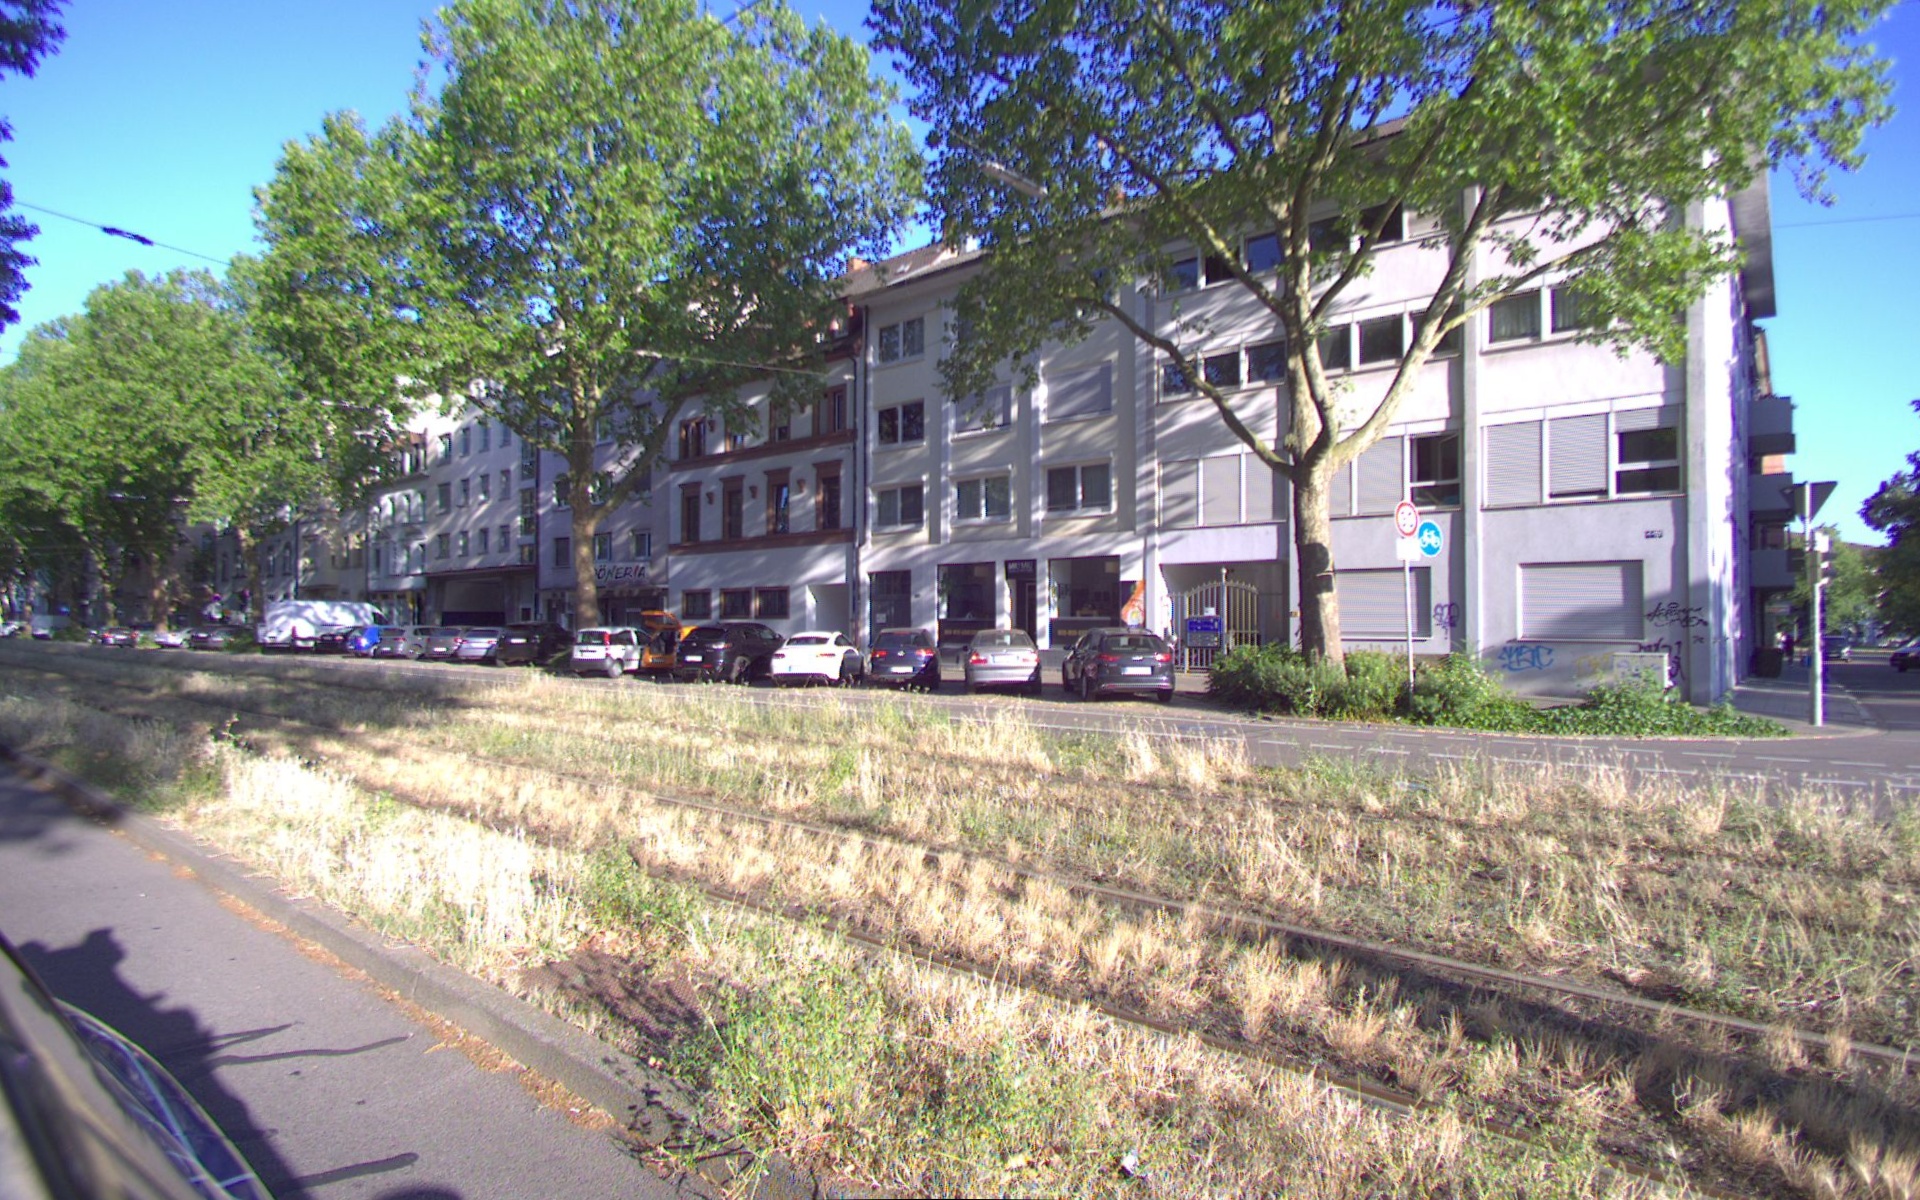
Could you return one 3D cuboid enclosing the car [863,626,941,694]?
[{"bbox_3d":[-1.449,1.459,25.688,1.776,1.452,4.002,-1,0,-3],"label":"car"}]

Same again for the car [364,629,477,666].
[{"bbox_3d":[-23.611,2.055,44.438,1.941,1.503,3.964,-1,-2,27],"label":"car"}]

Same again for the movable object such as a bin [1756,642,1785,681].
[{"bbox_3d":[27.816,2.106,34.747,0.745,1.315,0.861,-1,-2,39],"label":"movable object such as a bin"}]

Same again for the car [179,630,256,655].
[{"bbox_3d":[-47.739,2.777,65.179,1.803,1.545,3.994,0,-3,4],"label":"car"}]

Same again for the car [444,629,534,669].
[{"bbox_3d":[-18.303,1.879,39.522,1.883,1.396,4.004,-1,-1,-5],"label":"car"}]

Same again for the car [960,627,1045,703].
[{"bbox_3d":[0.891,1.421,23.283,1.698,1.452,4.000,-1,0,-1],"label":"car"}]

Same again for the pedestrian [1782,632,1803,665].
[{"bbox_3d":[45.569,2.657,55.410,0.685,1.764,0.637,-1,-2,25],"label":"pedestrian"}]

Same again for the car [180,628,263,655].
[{"bbox_3d":[-45.540,2.601,62.551,1.912,1.605,4.155,0,-4,4],"label":"car"}]

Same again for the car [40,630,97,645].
[{"bbox_3d":[-86.028,3.615,97.692,1.709,1.256,3.993,-1,1,6],"label":"car"}]

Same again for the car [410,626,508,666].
[{"bbox_3d":[-20.548,1.872,41.673,1.735,1.433,3.993,-1,0,6],"label":"car"}]

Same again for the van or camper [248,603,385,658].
[{"bbox_3d":[-33.120,1.557,52.373,2.162,2.666,5.929,-1,-2,19],"label":"van or camper"}]

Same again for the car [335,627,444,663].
[{"bbox_3d":[-25.988,2.013,46.206,1.854,1.431,3.951,-1,0,36],"label":"car"}]

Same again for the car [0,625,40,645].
[{"bbox_3d":[-107.393,3.970,115.157,1.971,2.029,4.002,-1,0,-2],"label":"car"}]

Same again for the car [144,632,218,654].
[{"bbox_3d":[-51.796,2.820,67.345,1.806,1.400,3.670,0,-2,9],"label":"car"}]

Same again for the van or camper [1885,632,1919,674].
[{"bbox_3d":[50.114,2.658,50.848,5.074,2.029,1.995,0,-2,8],"label":"van or camper"}]

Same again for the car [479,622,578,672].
[{"bbox_3d":[-15.691,1.661,37.023,1.972,1.673,4.000,-1,-1,-1],"label":"car"}]

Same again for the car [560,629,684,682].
[{"bbox_3d":[-10.471,1.687,31.700,1.643,1.460,4.345,0,-1,14],"label":"car"}]

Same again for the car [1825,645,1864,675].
[{"bbox_3d":[63.350,4.279,72.473,1.999,2.029,3.945,-1,-2,41],"label":"car"}]

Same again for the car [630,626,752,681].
[{"bbox_3d":[-8.370,1.619,31.799,1.764,1.490,3.974,-1,0,20],"label":"car"}]

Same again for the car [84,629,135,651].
[{"bbox_3d":[-56.665,2.663,67.409,4.480,1.400,1.802,-1,-4,40],"label":"car"}]

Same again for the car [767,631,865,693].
[{"bbox_3d":[-3.703,1.572,26.692,1.700,1.343,4.200,-1,0,4],"label":"car"}]

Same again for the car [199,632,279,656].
[{"bbox_3d":[-43.012,2.630,60.450,1.778,1.368,4.002,0,-3,3],"label":"car"}]

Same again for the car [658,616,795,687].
[{"bbox_3d":[-6.468,1.460,28.611,1.975,1.800,4.343,1,-3,14],"label":"car"}]

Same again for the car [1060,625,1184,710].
[{"bbox_3d":[3.287,1.336,21.294,1.791,1.490,4.002,-1,0,-2],"label":"car"}]

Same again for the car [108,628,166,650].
[{"bbox_3d":[-63.521,3.026,78.210,1.703,1.666,4.008,0,-2,-10],"label":"car"}]

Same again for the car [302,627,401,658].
[{"bbox_3d":[-30.755,2.142,51.260,1.984,1.502,3.975,-1,-2,18],"label":"car"}]

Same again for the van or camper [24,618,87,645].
[{"bbox_3d":[-88.334,3.080,98.895,2.171,2.418,4.364,-1,1,0],"label":"van or camper"}]
